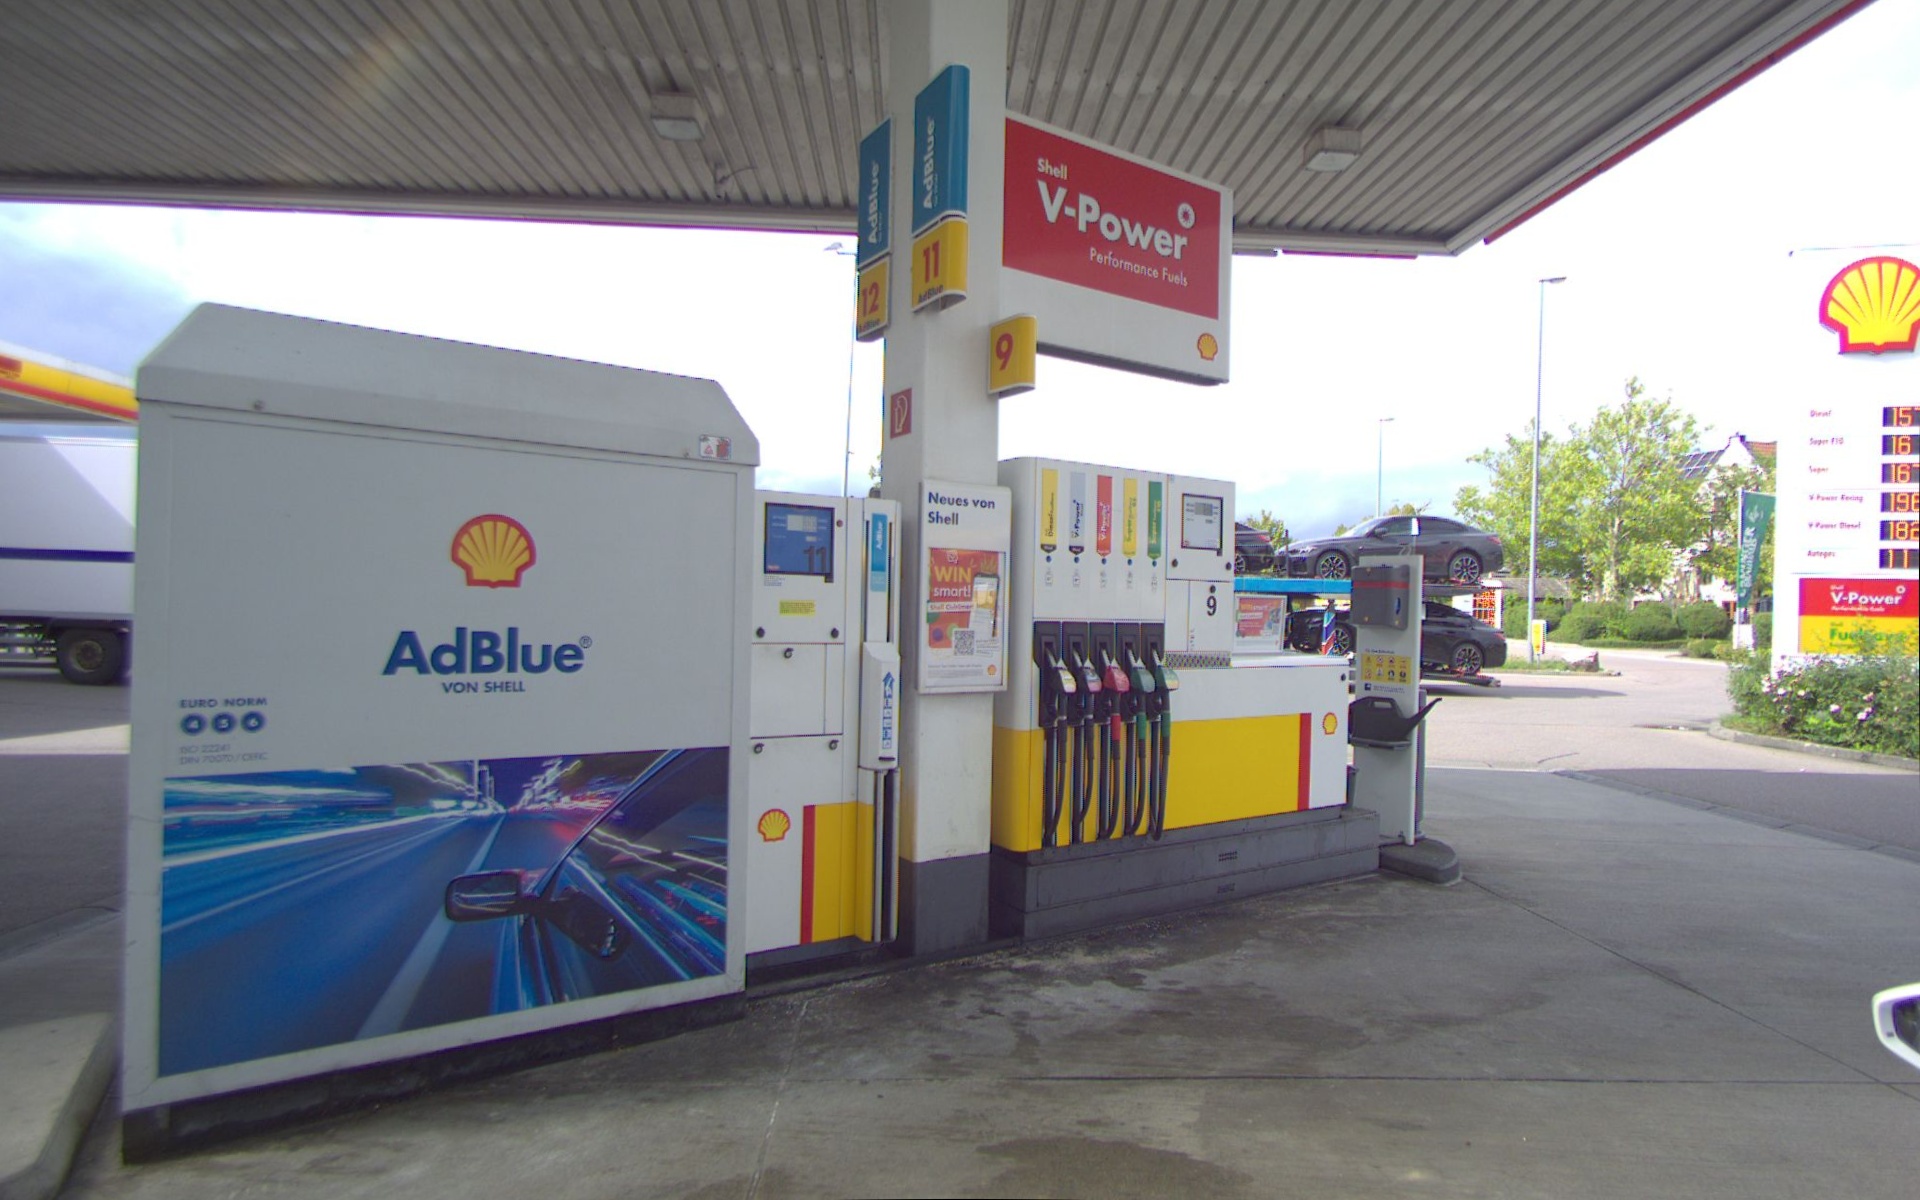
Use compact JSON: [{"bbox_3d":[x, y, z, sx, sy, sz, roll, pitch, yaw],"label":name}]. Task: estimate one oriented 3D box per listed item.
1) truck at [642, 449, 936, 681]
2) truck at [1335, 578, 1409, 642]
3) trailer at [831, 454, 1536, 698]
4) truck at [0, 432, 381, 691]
[{"bbox_3d":[-3.457,-0.698,21.545,5.713,4.479,2.750,2,0,0],"label":"truck"},{"bbox_3d":[26.834,0.655,65.719,2.686,3.897,5.921,2,0,5],"label":"truck"},{"bbox_3d":[4.519,-0.462,21.584,14.077,4.481,2.746,2,0,0],"label":"trailer"},{"bbox_3d":[-17.308,-0.731,17.498,12.654,4.092,2.534,2,0,-3],"label":"truck"}]
